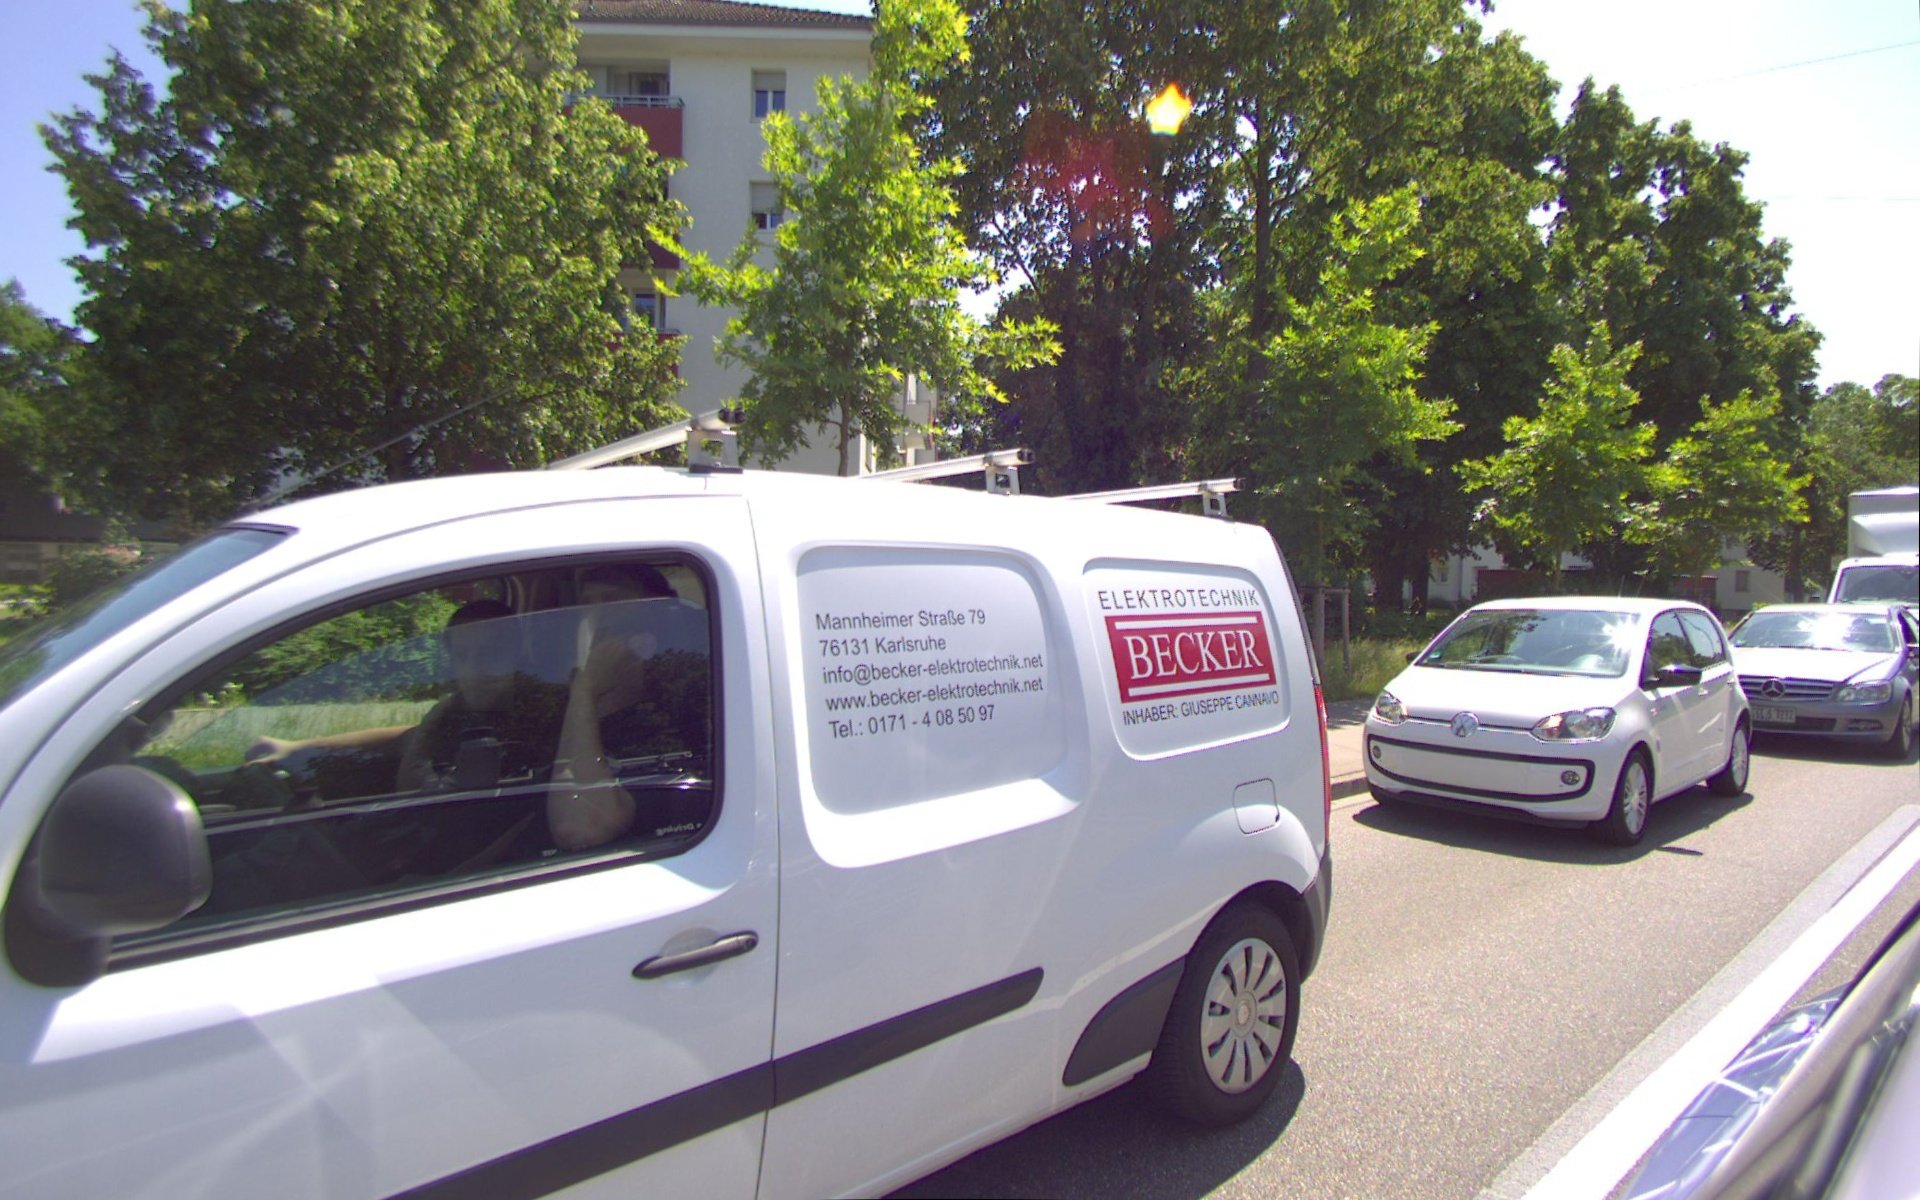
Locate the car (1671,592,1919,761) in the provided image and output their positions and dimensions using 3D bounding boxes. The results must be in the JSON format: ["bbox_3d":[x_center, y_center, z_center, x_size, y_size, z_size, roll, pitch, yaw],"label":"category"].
[{"bbox_3d":[9.230,0.652,10.738,4.016,1.426,1.839,0,1,-41],"label":"car"}]

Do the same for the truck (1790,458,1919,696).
[{"bbox_3d":[16.513,-0.340,16.973,7.778,3.387,2.434,0,1,-39],"label":"truck"}]

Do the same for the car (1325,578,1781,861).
[{"bbox_3d":[4.396,0.620,7.288,3.705,1.497,1.729,0,1,-41],"label":"car"}]

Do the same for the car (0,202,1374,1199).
[{"bbox_3d":[-0.997,0.453,2.535,4.370,1.849,1.997,0,1,-41],"label":"car"}]
